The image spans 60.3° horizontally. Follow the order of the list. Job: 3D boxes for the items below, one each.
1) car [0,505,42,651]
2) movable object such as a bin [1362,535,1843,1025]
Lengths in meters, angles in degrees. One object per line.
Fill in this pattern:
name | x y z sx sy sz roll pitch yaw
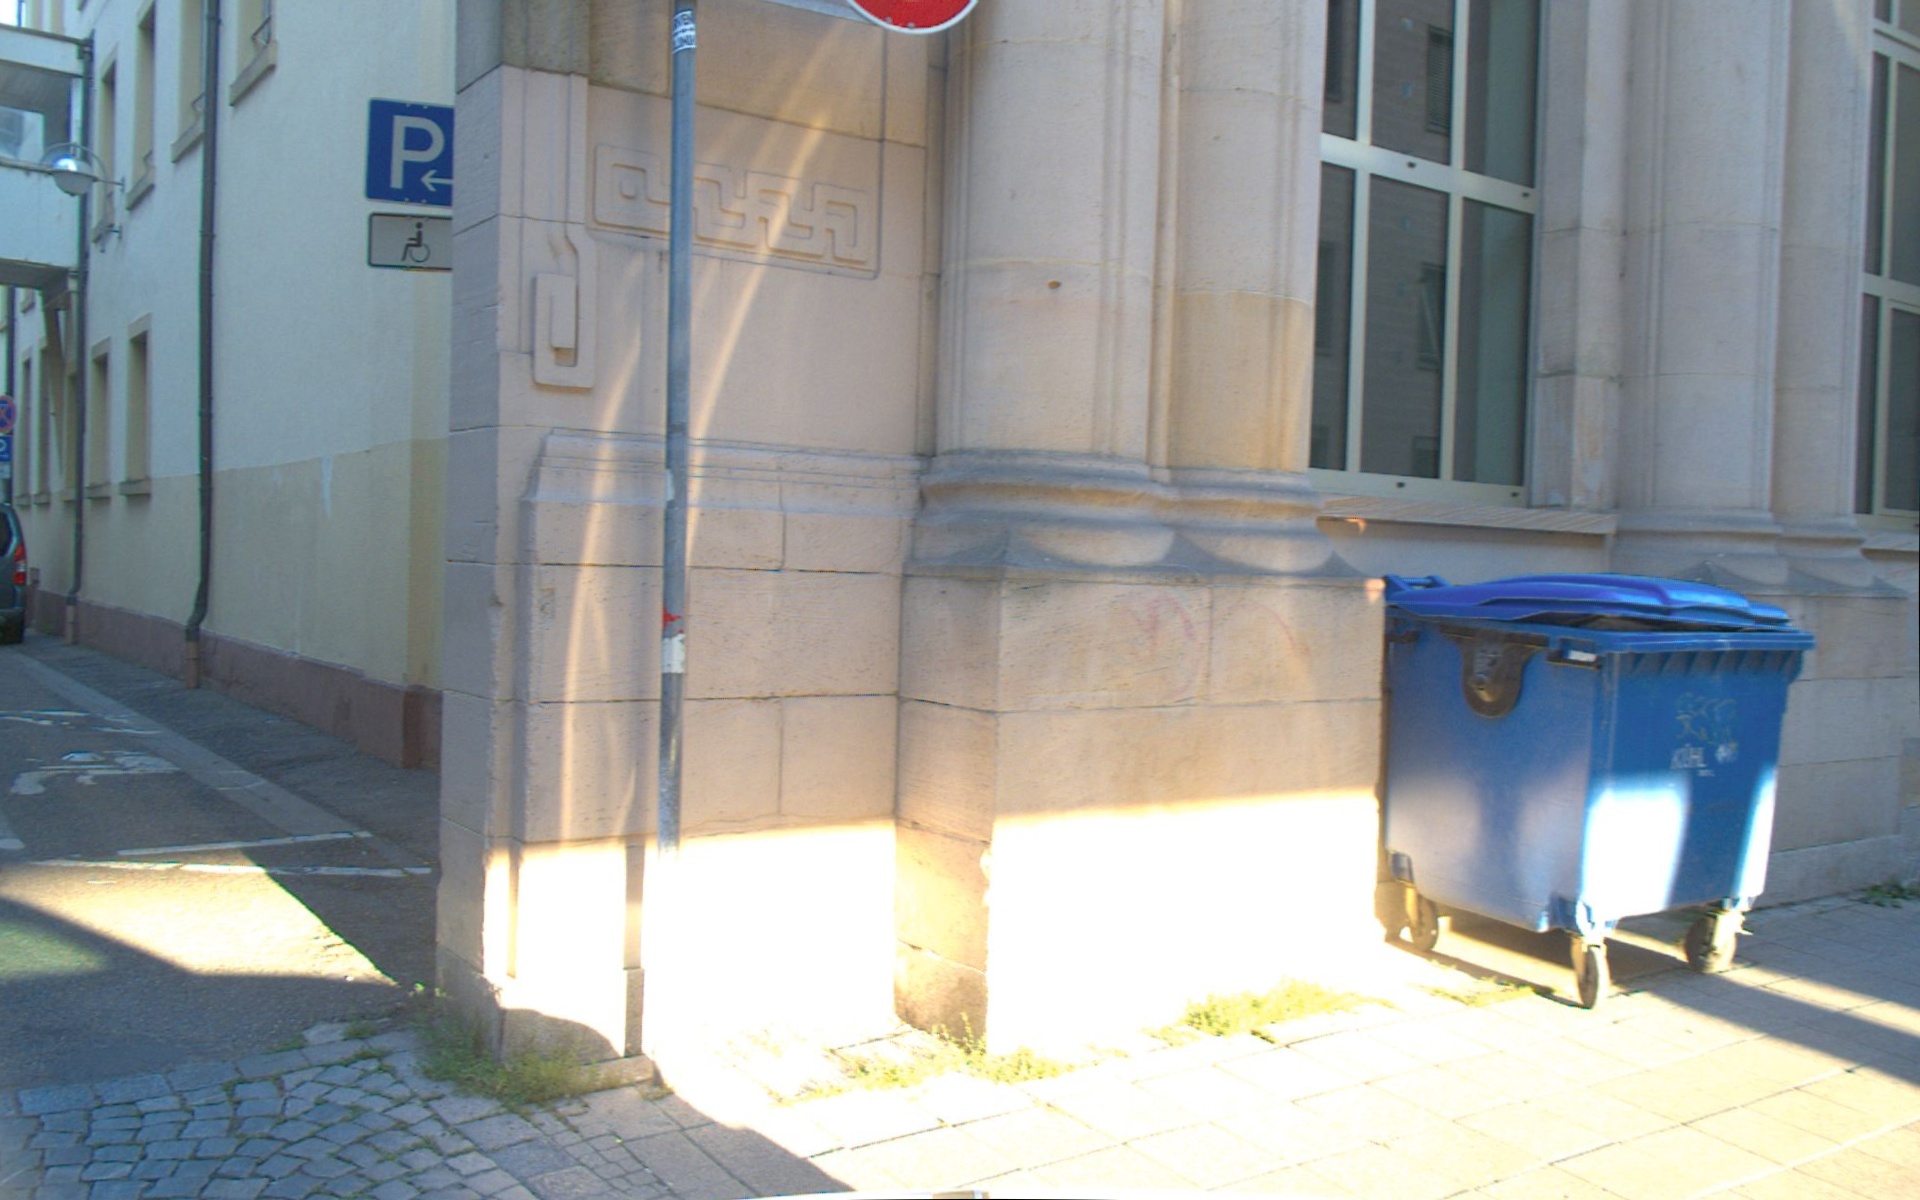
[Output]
car | -13.539 -0.363 21.768 1.842 1.786 4.106 5 -2 -38
movable object such as a bin | 2.246 0.543 5.839 1.171 1.500 1.066 1 2 -32
